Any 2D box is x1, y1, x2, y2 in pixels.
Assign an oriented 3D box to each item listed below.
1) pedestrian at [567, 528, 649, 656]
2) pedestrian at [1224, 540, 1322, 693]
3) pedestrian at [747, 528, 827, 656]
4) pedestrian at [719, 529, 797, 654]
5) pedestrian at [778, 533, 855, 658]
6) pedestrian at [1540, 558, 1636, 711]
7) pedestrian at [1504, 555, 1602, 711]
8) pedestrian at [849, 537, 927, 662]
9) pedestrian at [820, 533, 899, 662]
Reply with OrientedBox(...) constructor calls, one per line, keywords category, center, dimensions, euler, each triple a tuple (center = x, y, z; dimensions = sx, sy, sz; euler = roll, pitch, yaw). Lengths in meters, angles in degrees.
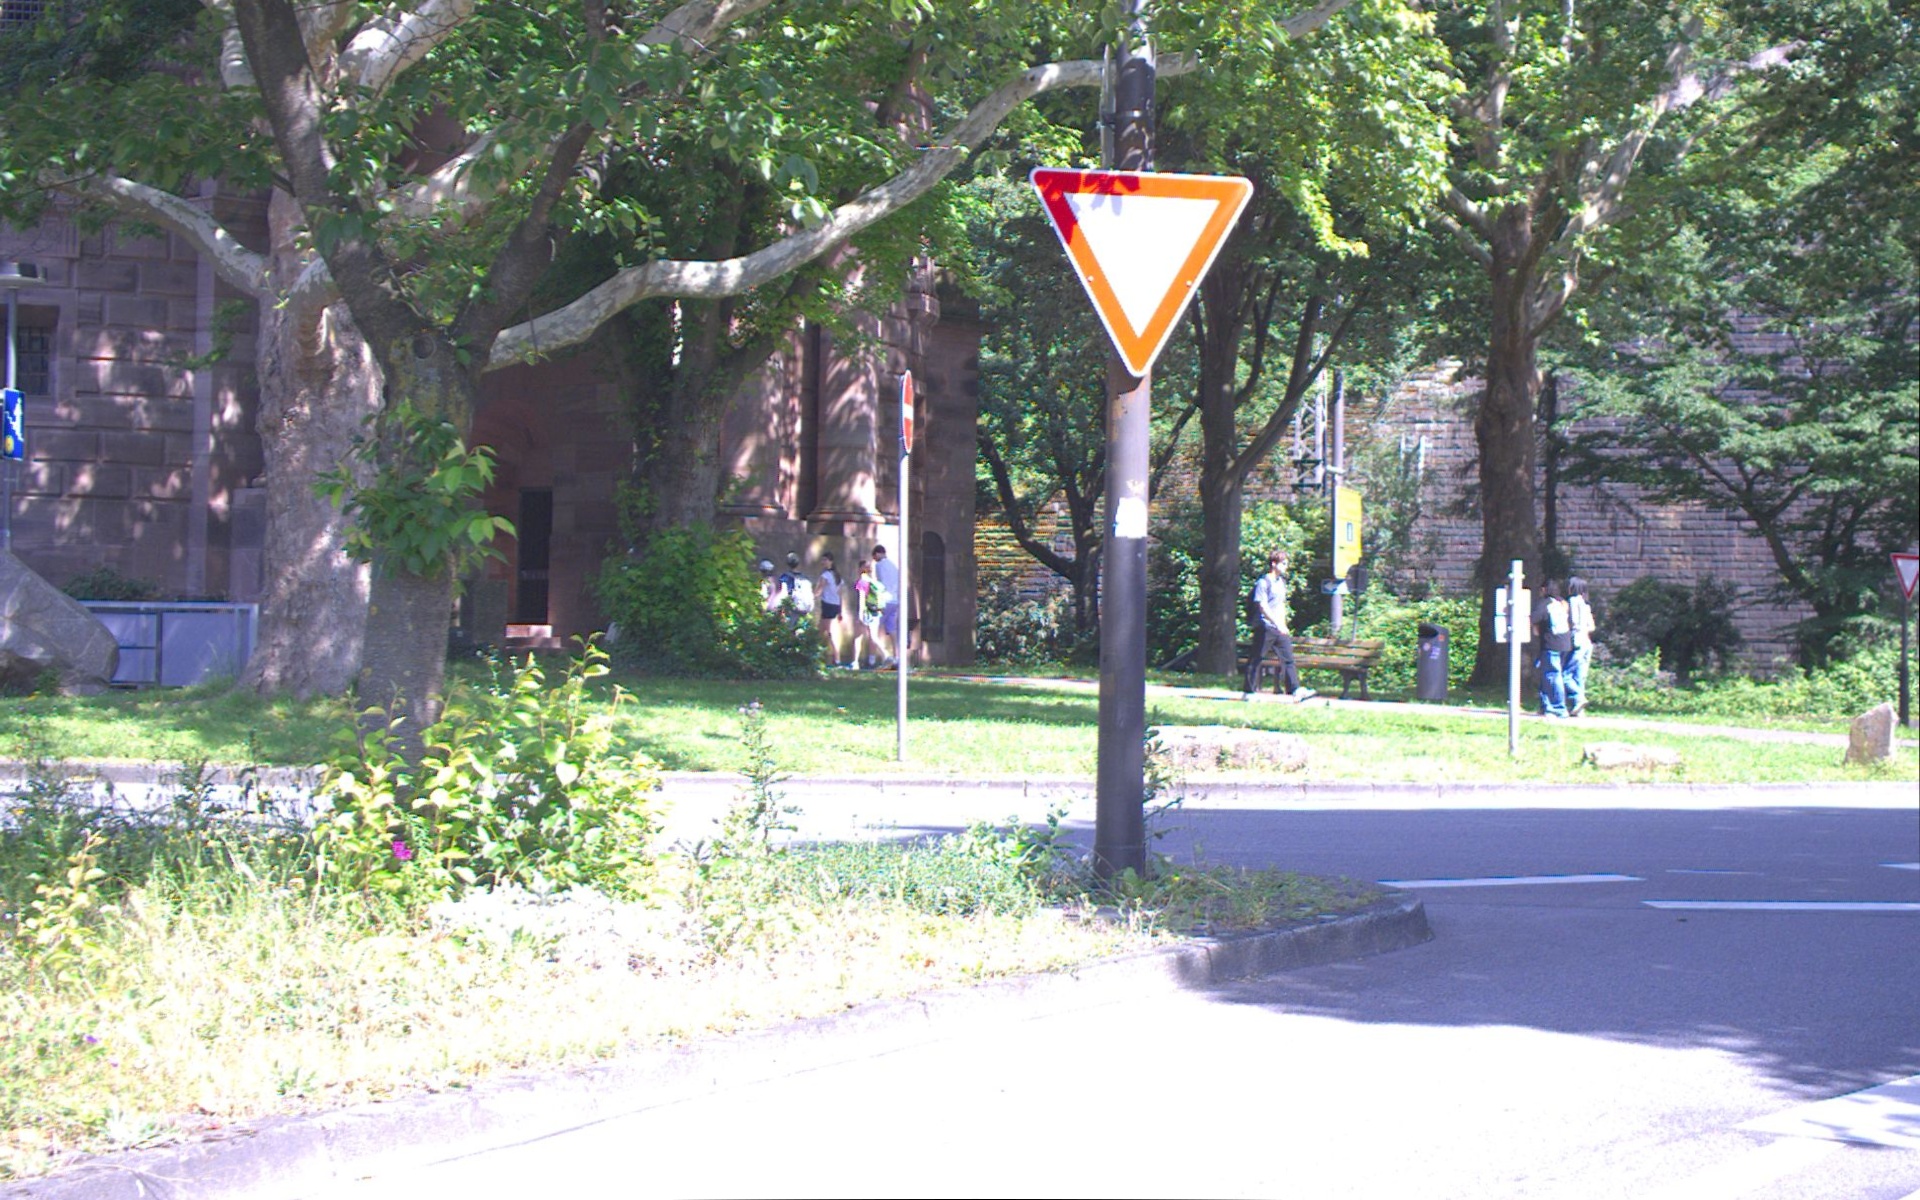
OrientedBox(category="pedestrian", center=(-4.944, -0.116, 48.237), dimensions=(0.793, 1.776, 0.876), euler=(0, 1, -36))
OrientedBox(category="pedestrian", center=(3.684, 0.197, 40.509), dimensions=(0.792, 1.750, 0.722), euler=(3, -1, -37))
OrientedBox(category="pedestrian", center=(-2.423, -0.114, 48.161), dimensions=(0.792, 1.750, 0.665), euler=(3, -1, -37))
OrientedBox(category="pedestrian", center=(-2.875, -0.122, 49.035), dimensions=(0.792, 1.750, 0.665), euler=(3, -1, -37))
OrientedBox(category="pedestrian", center=(-2.061, -0.066, 49.461), dimensions=(0.792, 1.750, 0.665), euler=(3, -1, -37))
OrientedBox(category="pedestrian", center=(7.372, 0.401, 40.364), dimensions=(0.792, 1.750, 0.665), euler=(3, -1, -37))
OrientedBox(category="pedestrian", center=(6.842, 0.379, 39.666), dimensions=(0.792, 1.750, 0.665), euler=(3, -1, -37))
OrientedBox(category="pedestrian", center=(-1.033, -0.009, 49.284), dimensions=(0.792, 1.750, 0.665), euler=(3, -1, -37))
OrientedBox(category="pedestrian", center=(-1.406, -0.036, 48.210), dimensions=(0.792, 1.750, 0.665), euler=(3, -1, -37))
